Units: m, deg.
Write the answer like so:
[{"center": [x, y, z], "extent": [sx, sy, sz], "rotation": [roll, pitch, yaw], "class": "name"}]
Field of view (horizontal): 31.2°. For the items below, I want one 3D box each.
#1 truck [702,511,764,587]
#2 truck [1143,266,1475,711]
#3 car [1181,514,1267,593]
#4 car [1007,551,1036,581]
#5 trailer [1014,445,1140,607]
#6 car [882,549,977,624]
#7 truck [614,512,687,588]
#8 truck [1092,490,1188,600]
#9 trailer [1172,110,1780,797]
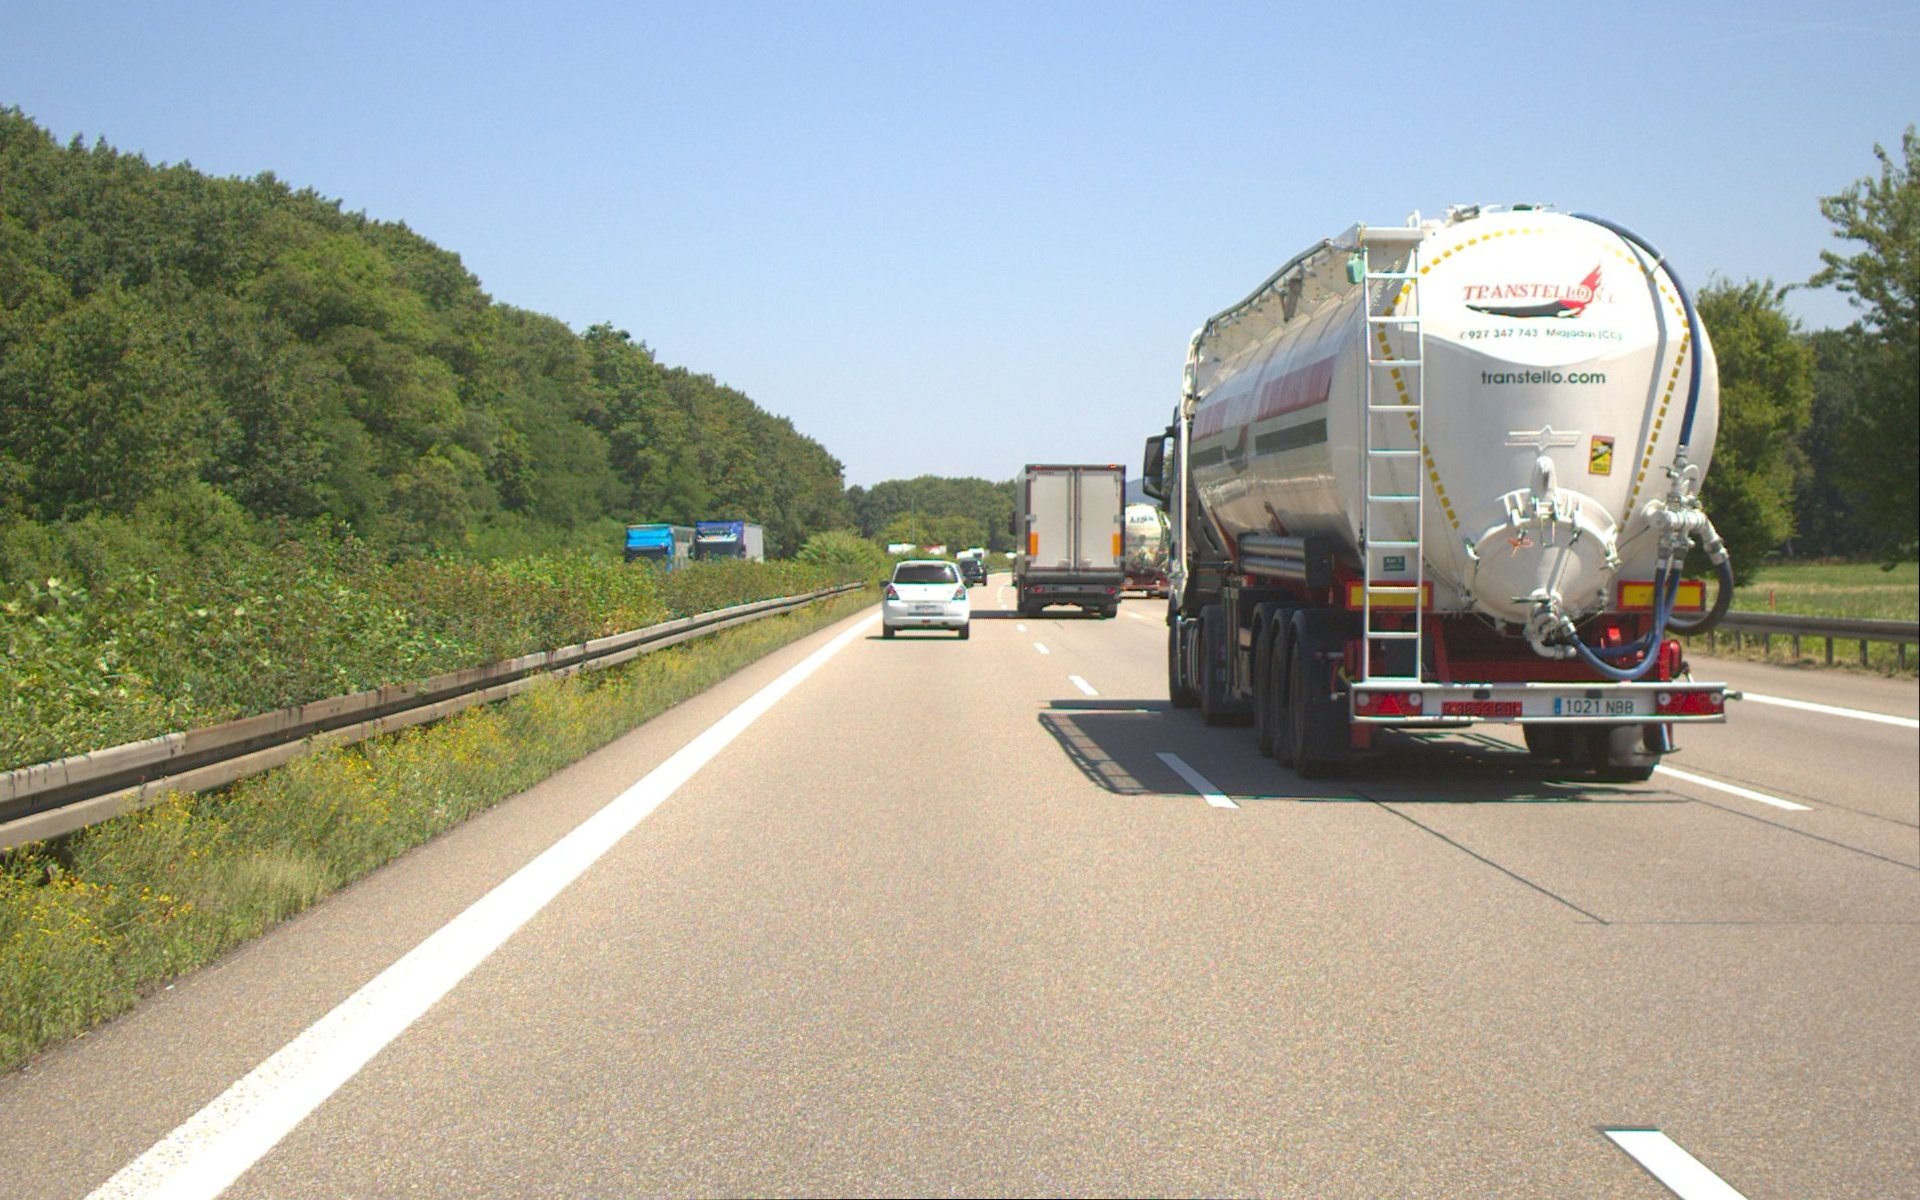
[{"center": [-12.039, -2.703, 182.639], "extent": [2.870, 3.996, 5.000], "rotation": [-1, 1, 0], "class": "truck"}, {"center": [3.448, -1.093, 35.111], "extent": [2.790, 4.190, 5.000], "rotation": [-1, 1, -1], "class": "truck"}, {"center": [6.909, -1.218, 90.387], "extent": [1.856, 1.996, 5.522], "rotation": [1, 1, 0], "class": "car"}, {"center": [3.670, -2.051, 205.331], "extent": [1.668, 1.759, 4.000], "rotation": [-1, 1, 0], "class": "car"}, {"center": [3.269, -1.994, 94.546], "extent": [3.224, 4.129, 12.351], "rotation": [-1, 1, 2], "class": "trailer"}, {"center": [-0.615, -0.278, 67.163], "extent": [1.811, 1.400, 3.317], "rotation": [-1, 1, -1], "class": "car"}, {"center": [-17.101, -2.759, 190.443], "extent": [3.013, 4.100, 10.000], "rotation": [-1, 1, 0], "class": "truck"}, {"center": [7.369, -2.273, 141.875], "extent": [3.223, 4.330, 10.808], "rotation": [-1, 1, -1], "class": "truck"}, {"center": [3.552, -0.990, 27.287], "extent": [2.790, 4.190, 12.354], "rotation": [-1, 1, -1], "class": "trailer"}]
